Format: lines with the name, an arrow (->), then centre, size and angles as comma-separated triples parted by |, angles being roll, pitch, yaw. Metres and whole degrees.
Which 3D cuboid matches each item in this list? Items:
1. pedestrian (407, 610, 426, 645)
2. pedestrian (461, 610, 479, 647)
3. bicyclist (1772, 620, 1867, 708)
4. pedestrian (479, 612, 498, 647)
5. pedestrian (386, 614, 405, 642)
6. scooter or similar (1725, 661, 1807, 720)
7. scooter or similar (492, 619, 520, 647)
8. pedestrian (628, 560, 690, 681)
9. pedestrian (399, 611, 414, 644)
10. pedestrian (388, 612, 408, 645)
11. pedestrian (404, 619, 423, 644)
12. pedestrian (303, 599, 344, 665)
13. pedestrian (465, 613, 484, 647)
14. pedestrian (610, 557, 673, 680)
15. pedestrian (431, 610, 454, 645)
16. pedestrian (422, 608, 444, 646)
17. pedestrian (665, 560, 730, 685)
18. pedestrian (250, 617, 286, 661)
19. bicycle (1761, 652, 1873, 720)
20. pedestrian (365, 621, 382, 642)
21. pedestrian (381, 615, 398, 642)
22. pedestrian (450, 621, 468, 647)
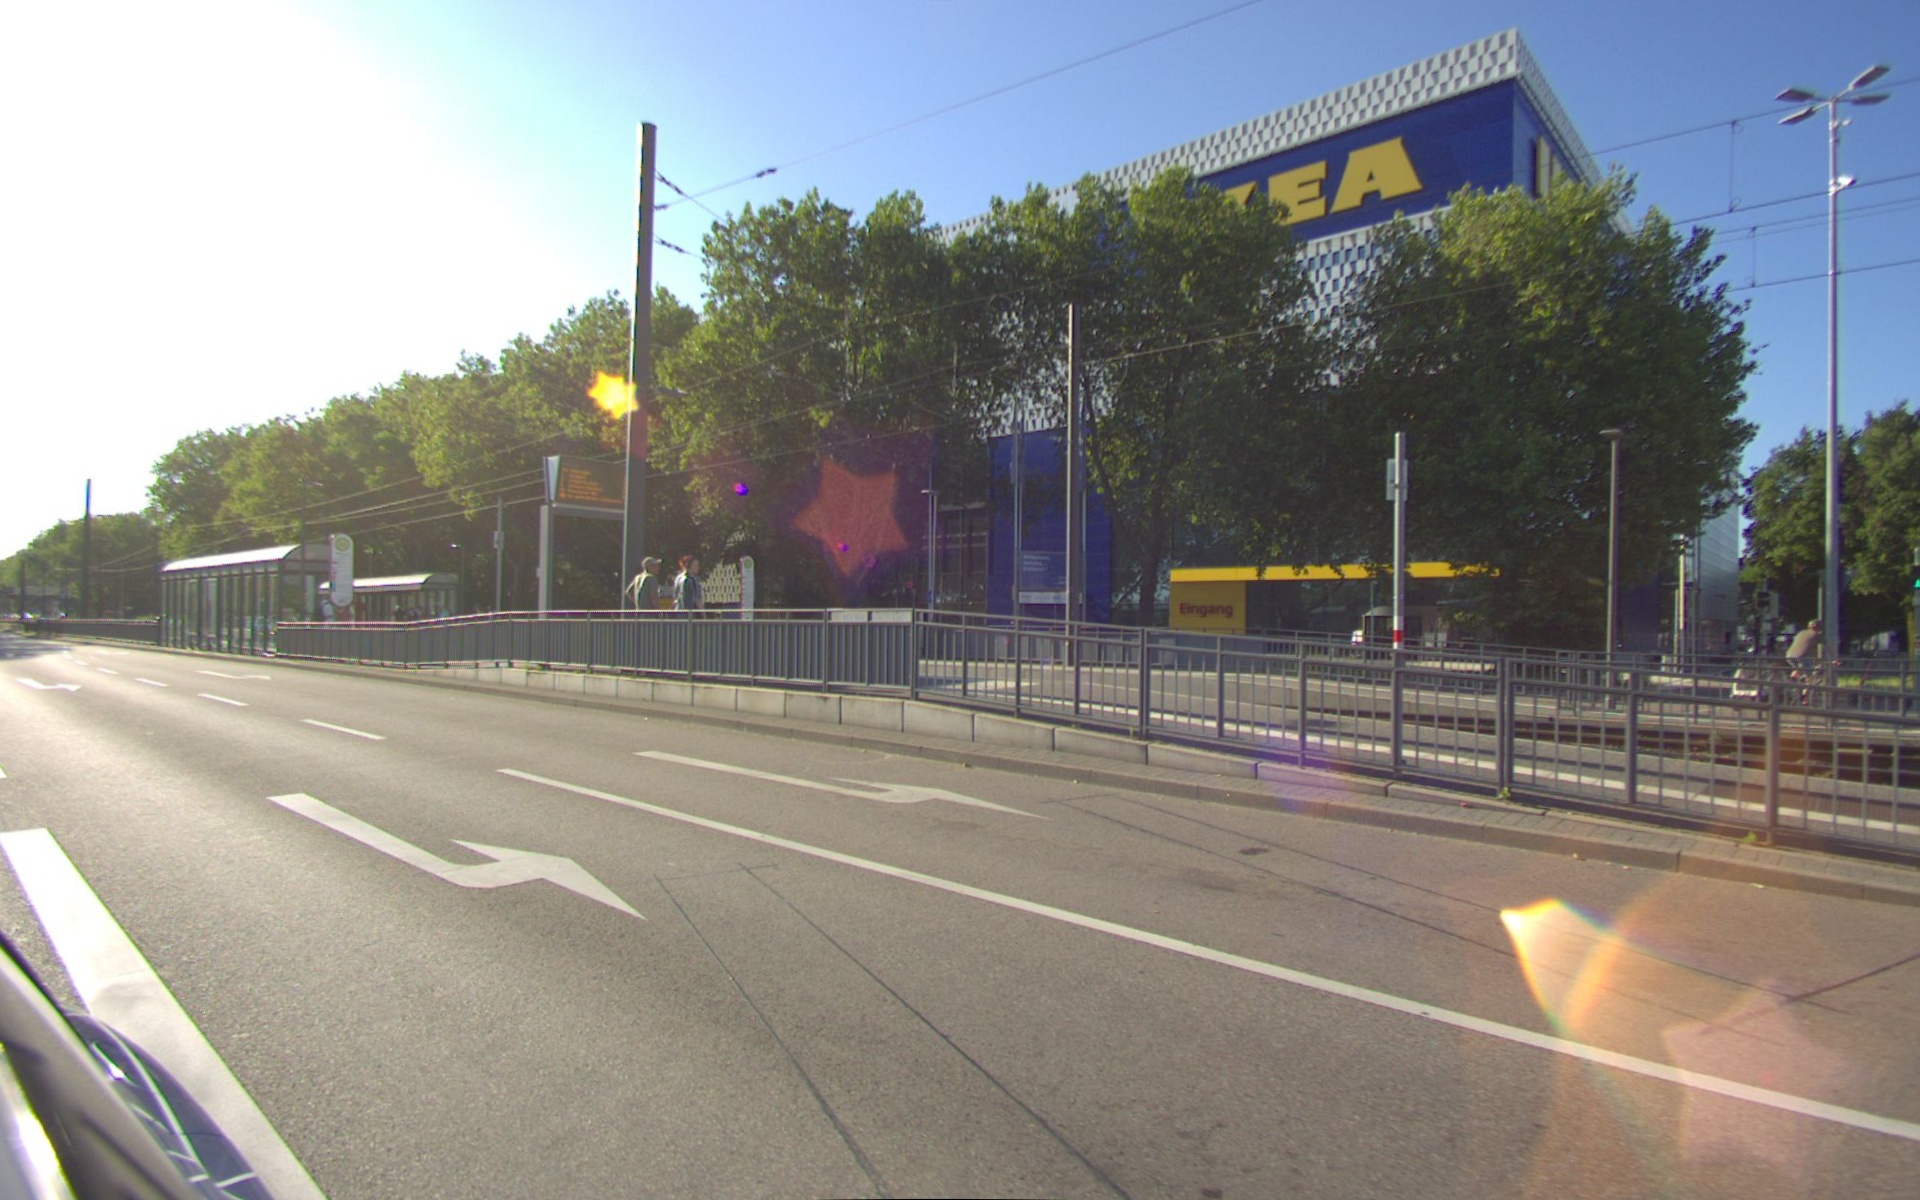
pedestrian -> -27.454, 1.395, 51.119 | 0.645, 1.755, 0.686 | -1, 0, -45
pedestrian -> -23.543, 1.367, 48.620 | 0.643, 1.732, 0.636 | 0, -1, -44
bicyclist -> 16.579, 1.217, 19.517 | 1.460, 1.629, 0.825 | 2, -1, -23
pedestrian -> -22.017, 1.382, 47.254 | 0.595, 1.632, 0.691 | 0, -1, -44
pedestrian -> -30.571, 1.537, 54.801 | 0.575, 1.503, 0.664 | -1, -2, 30
scooter or similar -> 14.983, 1.677, 18.823 | 1.048, 1.023, 0.791 | 2, -1, -23
scooter or similar -> -20.540, 1.487, 45.773 | 1.372, 1.244, 0.657 | -1, -2, 42
pedestrian -> -4.345, 0.282, 14.610 | 0.761, 1.706, 0.527 | -1, 1, 45
pedestrian -> -28.707, 1.423, 52.448 | 0.568, 1.648, 0.645 | 1, -2, -39
pedestrian -> -28.134, 1.428, 50.646 | 0.777, 1.645, 0.653 | -2, -1, 44
pedestrian -> -28.094, 1.633, 52.021 | 0.685, 1.262, 0.646 | -2, 0, 40
pedestrian -> -17.120, 0.842, 27.211 | 0.821, 1.729, 0.687 | -1, -1, 38
pedestrian -> -23.180, 1.428, 48.278 | 0.643, 1.632, 0.636 | 0, -1, -44
pedestrian -> -4.774, 0.256, 15.159 | 0.698, 1.788, 0.536 | -2, 1, -43
pedestrian -> -25.589, 1.362, 50.074 | 0.685, 1.704, 0.726 | -2, 0, 32
pedestrian -> -26.267, 1.338, 50.422 | 0.686, 1.834, 0.725 | -2, 0, 35
pedestrian -> -3.632, 0.304, 13.992 | 0.751, 1.669, 0.527 | -1, 0, 45
pedestrian -> -20.212, 1.123, 29.545 | 0.878, 1.241, 0.673 | -2, 0, 43
bicycle -> 16.491, 1.650, 19.471 | 2.239, 1.227, 0.717 | 2, -1, -23
pedestrian -> -33.404, 1.806, 57.663 | 0.624, 1.171, 0.670 | -1, -2, 40
pedestrian -> -31.064, 1.534, 55.124 | 0.543, 1.479, 0.609 | -1, -2, 34
pedestrian -> -24.189, 1.623, 48.839 | 0.595, 1.233, 0.618 | 0, -1, -44
